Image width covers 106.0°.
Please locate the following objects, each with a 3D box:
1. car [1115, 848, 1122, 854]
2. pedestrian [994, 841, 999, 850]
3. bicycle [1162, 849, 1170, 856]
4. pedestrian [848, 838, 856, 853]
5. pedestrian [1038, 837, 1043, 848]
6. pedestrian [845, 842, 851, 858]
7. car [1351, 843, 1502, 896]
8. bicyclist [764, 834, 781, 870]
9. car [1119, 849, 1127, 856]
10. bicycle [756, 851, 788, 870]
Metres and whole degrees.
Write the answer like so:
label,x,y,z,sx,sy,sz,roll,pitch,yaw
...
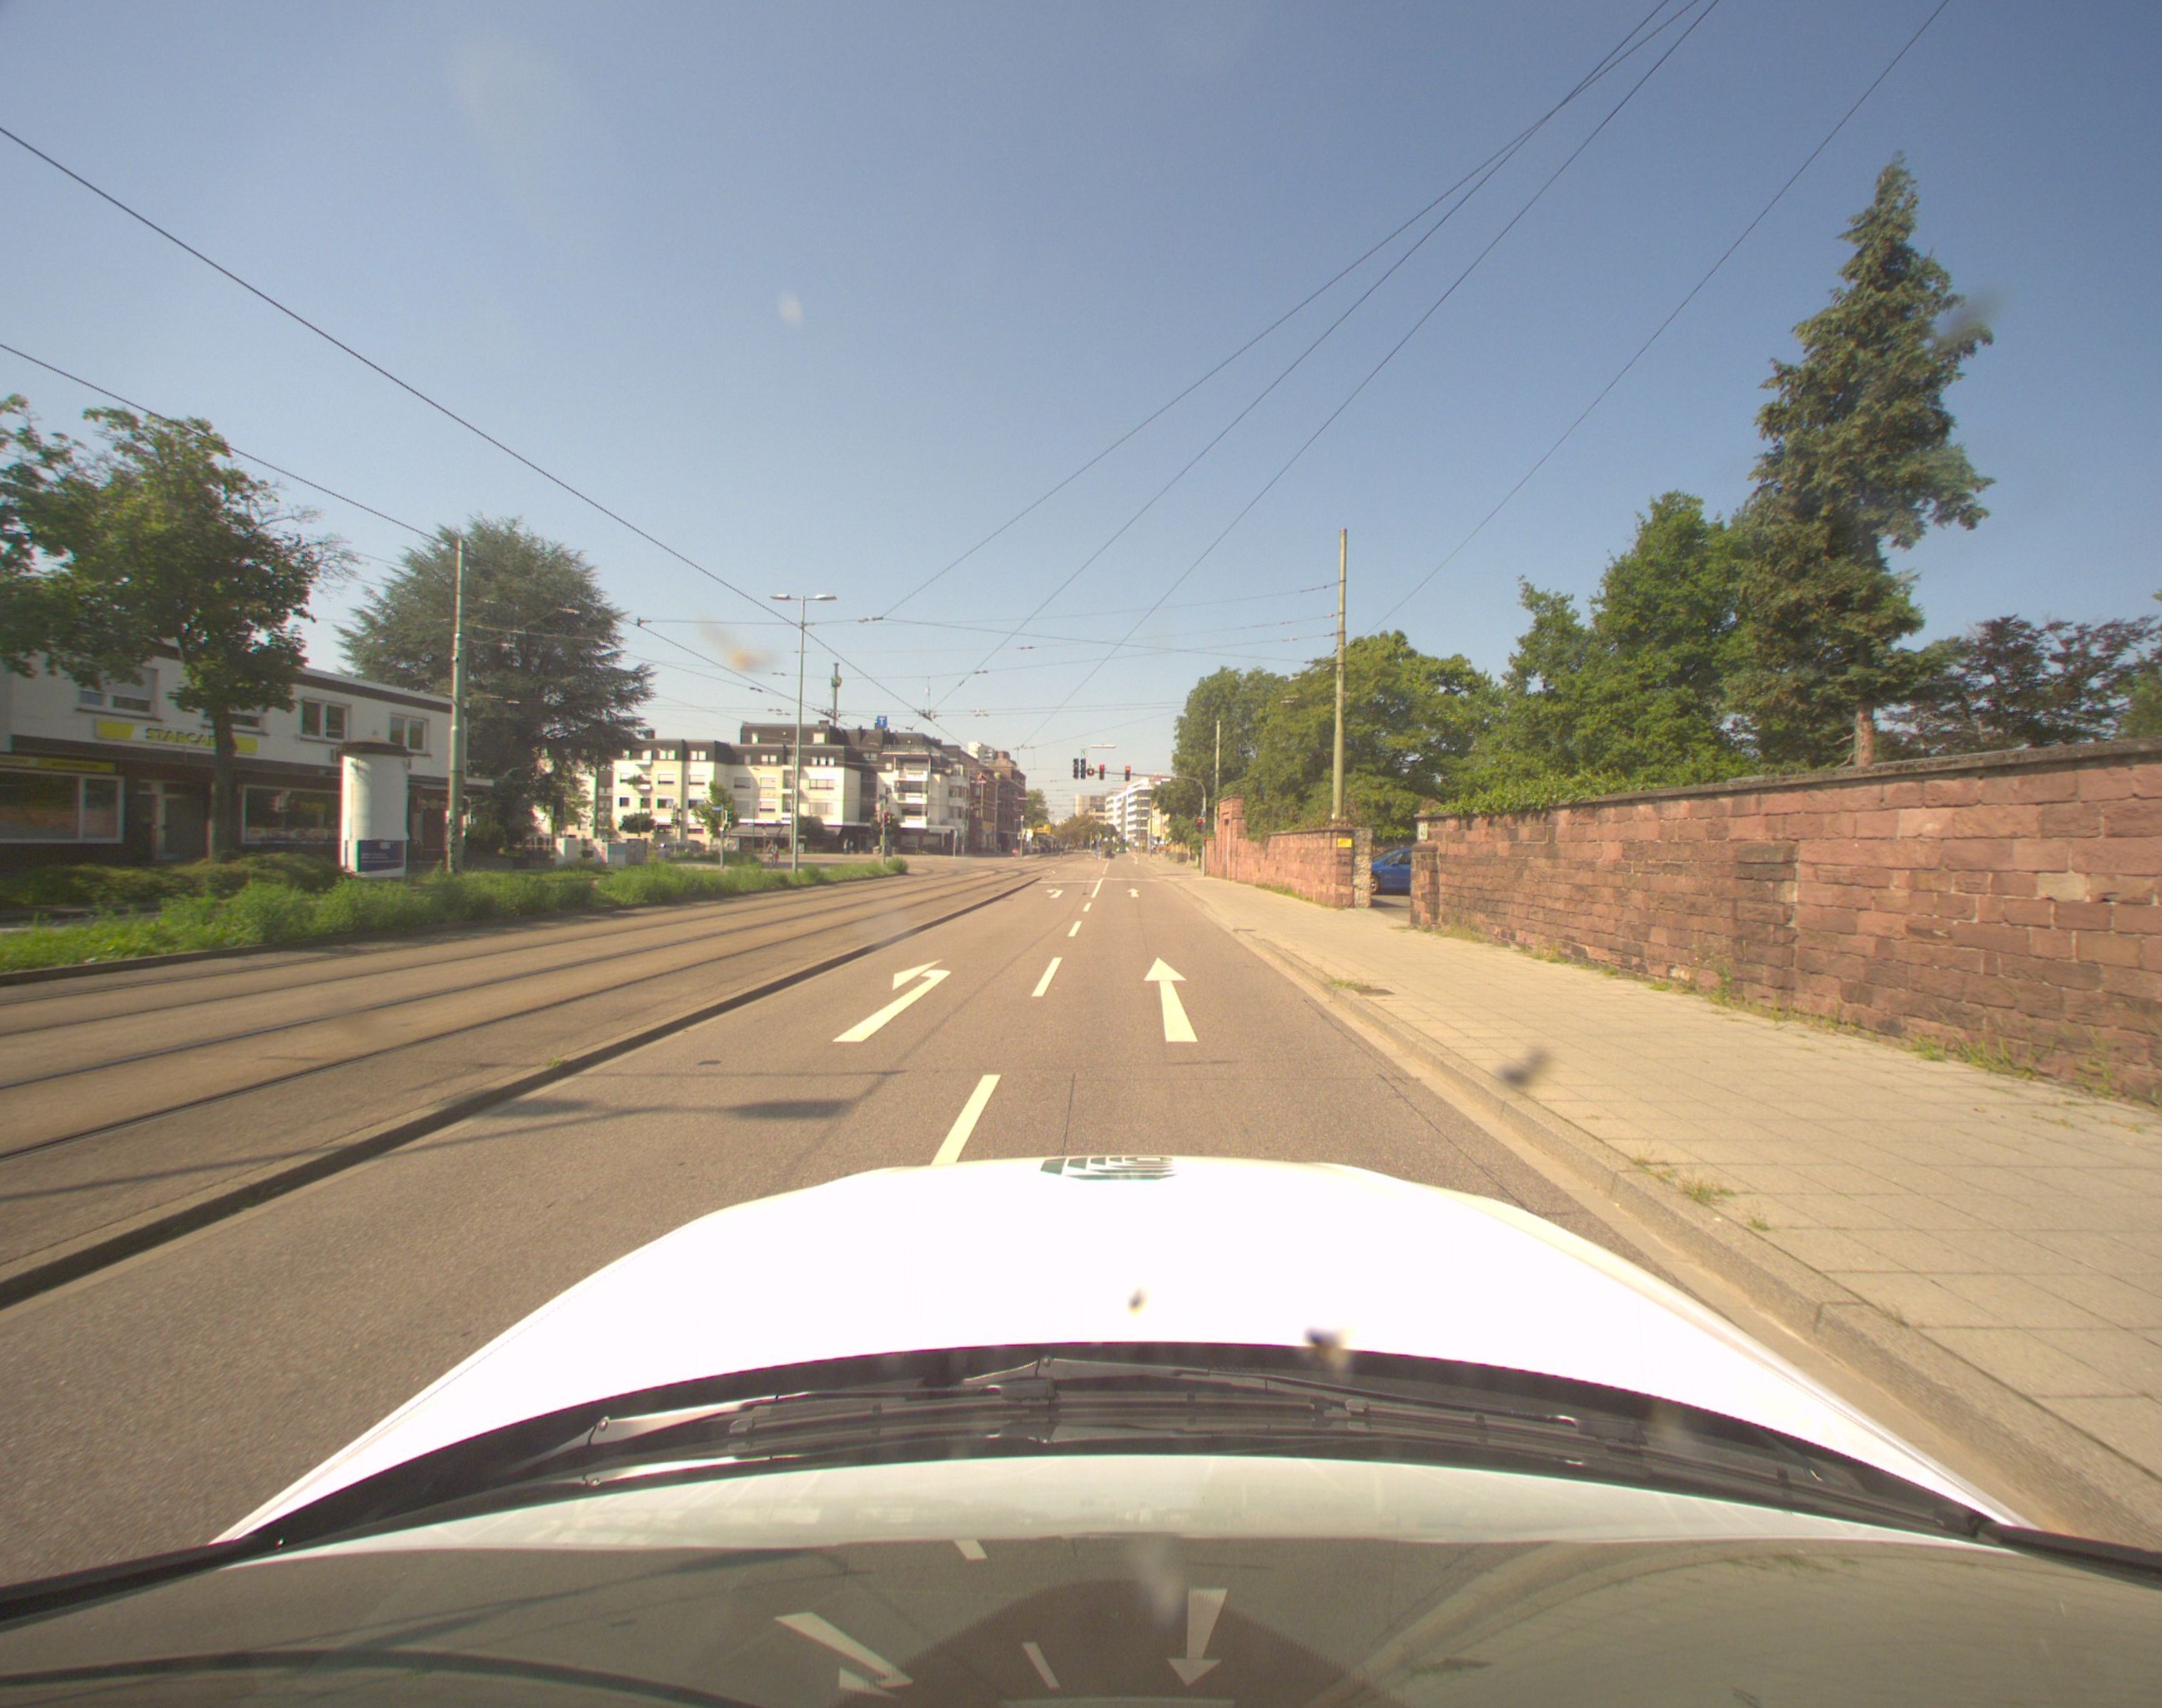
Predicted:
label,x,y,z,sx,sy,sz,roll,pitch,yaw
car,10.507,-0.861,227.142,2.002,1.859,4.004,0,0,4
pedestrian,-14.334,-1.393,137.462,0.479,1.560,0.890,2,-1,14
bicycle,13.765,-0.298,131.374,0.729,1.132,2.835,-2,0,-4
pedestrian,-26.746,-0.978,94.952,0.676,1.741,0.699,0,0,4
pedestrian,-6.423,-1.881,130.244,0.705,1.723,0.800,0,0,3
pedestrian,-25.783,-0.407,90.121,0.602,1.745,0.560,0,0,-31
car,10.682,0.453,25.377,3.952,1.464,1.778,2,1,1
bicyclist,-18.158,-0.127,47.918,0.634,2.064,0.776,0,0,7
car,11.491,-0.486,221.059,2.002,1.859,4.004,0,0,4
bicycle,-18.150,0.364,47.889,0.711,1.091,2.270,0,0,7
